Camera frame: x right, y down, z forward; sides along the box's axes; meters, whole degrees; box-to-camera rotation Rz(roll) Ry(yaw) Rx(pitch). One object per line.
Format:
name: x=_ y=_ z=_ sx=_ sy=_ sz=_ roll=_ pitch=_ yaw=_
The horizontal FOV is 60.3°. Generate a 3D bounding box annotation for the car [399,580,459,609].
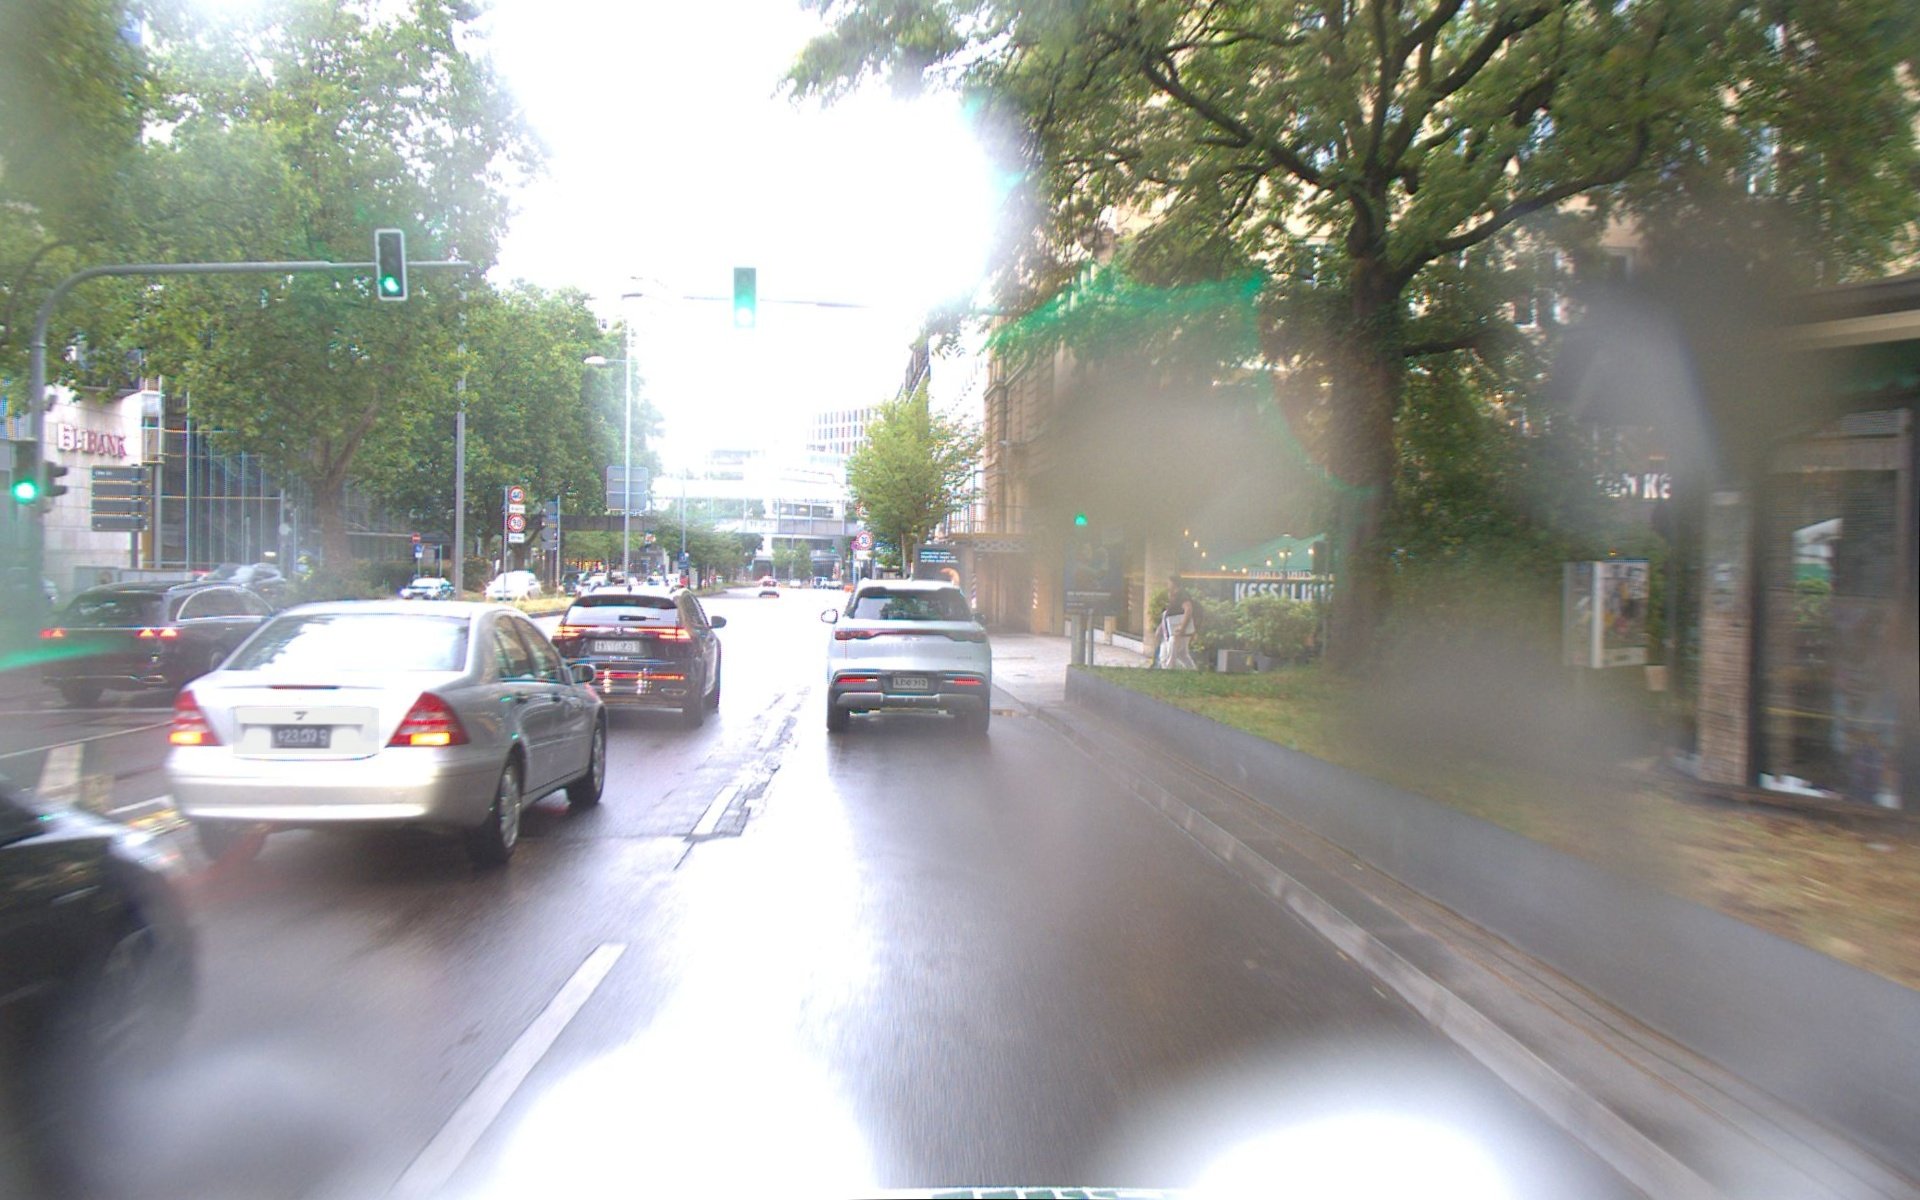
car: x=-25.990 y=-0.270 z=81.103 sx=1.812 sy=1.390 sz=4.236 roll=1 pitch=0 yaw=-4

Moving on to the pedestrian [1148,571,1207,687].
pedestrian: x=3.460 y=0.454 z=26.327 sx=0.841 sy=1.811 sz=0.718 roll=1 pitch=0 yaw=1

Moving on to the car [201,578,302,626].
car: x=-24.097 y=0.029 z=56.419 sx=1.759 sy=1.536 sz=4.496 roll=-1 pitch=1 yaw=-4

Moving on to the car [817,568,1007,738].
car: x=-0.543 y=0.530 z=19.216 sx=1.907 sy=1.695 sz=4.344 roll=2 pitch=0 yaw=-1

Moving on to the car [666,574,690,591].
car: x=-26.148 y=-1.652 z=153.336 sx=1.759 sy=1.536 sz=4.342 roll=-1 pitch=1 yaw=-4

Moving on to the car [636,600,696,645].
car: x=-10.519 y=0.775 z=59.382 sx=1.658 sy=1.488 sz=4.342 roll=-1 pitch=1 yaw=-4

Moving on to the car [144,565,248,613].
car: x=-27.737 y=-0.399 z=60.192 sx=1.653 sy=1.671 sz=4.241 roll=1 pitch=0 yaw=2

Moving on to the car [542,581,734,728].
car: x=-3.618 y=0.538 z=19.270 sx=1.658 sy=1.488 sz=4.342 roll=-1 pitch=1 yaw=-4

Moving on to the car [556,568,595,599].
car: x=-24.777 y=-1.093 z=106.670 sx=1.759 sy=1.942 sz=4.496 roll=-1 pitch=1 yaw=-4

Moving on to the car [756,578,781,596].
car: x=-16.392 y=-1.118 z=141.444 sx=1.939 sy=1.488 sz=4.341 roll=-1 pitch=1 yaw=-4

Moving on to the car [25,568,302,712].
car: x=-10.006 y=0.430 z=21.133 sx=1.665 sy=1.648 sz=3.999 roll=0 pitch=1 yaw=-1

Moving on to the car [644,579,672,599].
car: x=-24.049 y=-0.870 z=131.771 sx=1.759 sy=1.536 sz=4.342 roll=-1 pitch=1 yaw=-4

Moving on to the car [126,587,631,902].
car: x=-3.261 y=0.683 z=10.224 sx=1.657 sy=1.488 sz=4.344 roll=-1 pitch=1 yaw=-1

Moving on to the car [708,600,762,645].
car: x=-8.082 y=0.778 z=59.713 sx=1.658 sy=1.488 sz=4.342 roll=-1 pitch=1 yaw=-4

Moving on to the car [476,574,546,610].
car: x=-19.399 y=-0.367 z=71.656 sx=2.117 sy=1.488 sz=4.342 roll=-1 pitch=1 yaw=-4

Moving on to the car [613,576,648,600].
car: x=-21.937 y=-0.786 z=110.252 sx=1.759 sy=1.536 sz=4.496 roll=-1 pitch=1 yaw=-4

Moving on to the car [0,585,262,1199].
car: x=-2.970 y=0.734 z=3.073 sx=1.657 sy=1.488 sz=4.129 roll=-1 pitch=1 yaw=-1

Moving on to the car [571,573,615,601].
car: x=-20.330 y=-0.728 z=91.772 sx=1.759 sy=1.536 sz=4.496 roll=-1 pitch=1 yaw=-4

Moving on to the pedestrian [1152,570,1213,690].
pedestrian: x=3.437 y=0.455 z=25.560 sx=0.841 sy=1.811 sz=0.718 roll=1 pitch=0 yaw=1

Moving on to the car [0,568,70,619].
car: x=-27.349 y=-0.197 z=47.000 sx=1.653 sy=1.427 sz=4.241 roll=1 pitch=0 yaw=2
